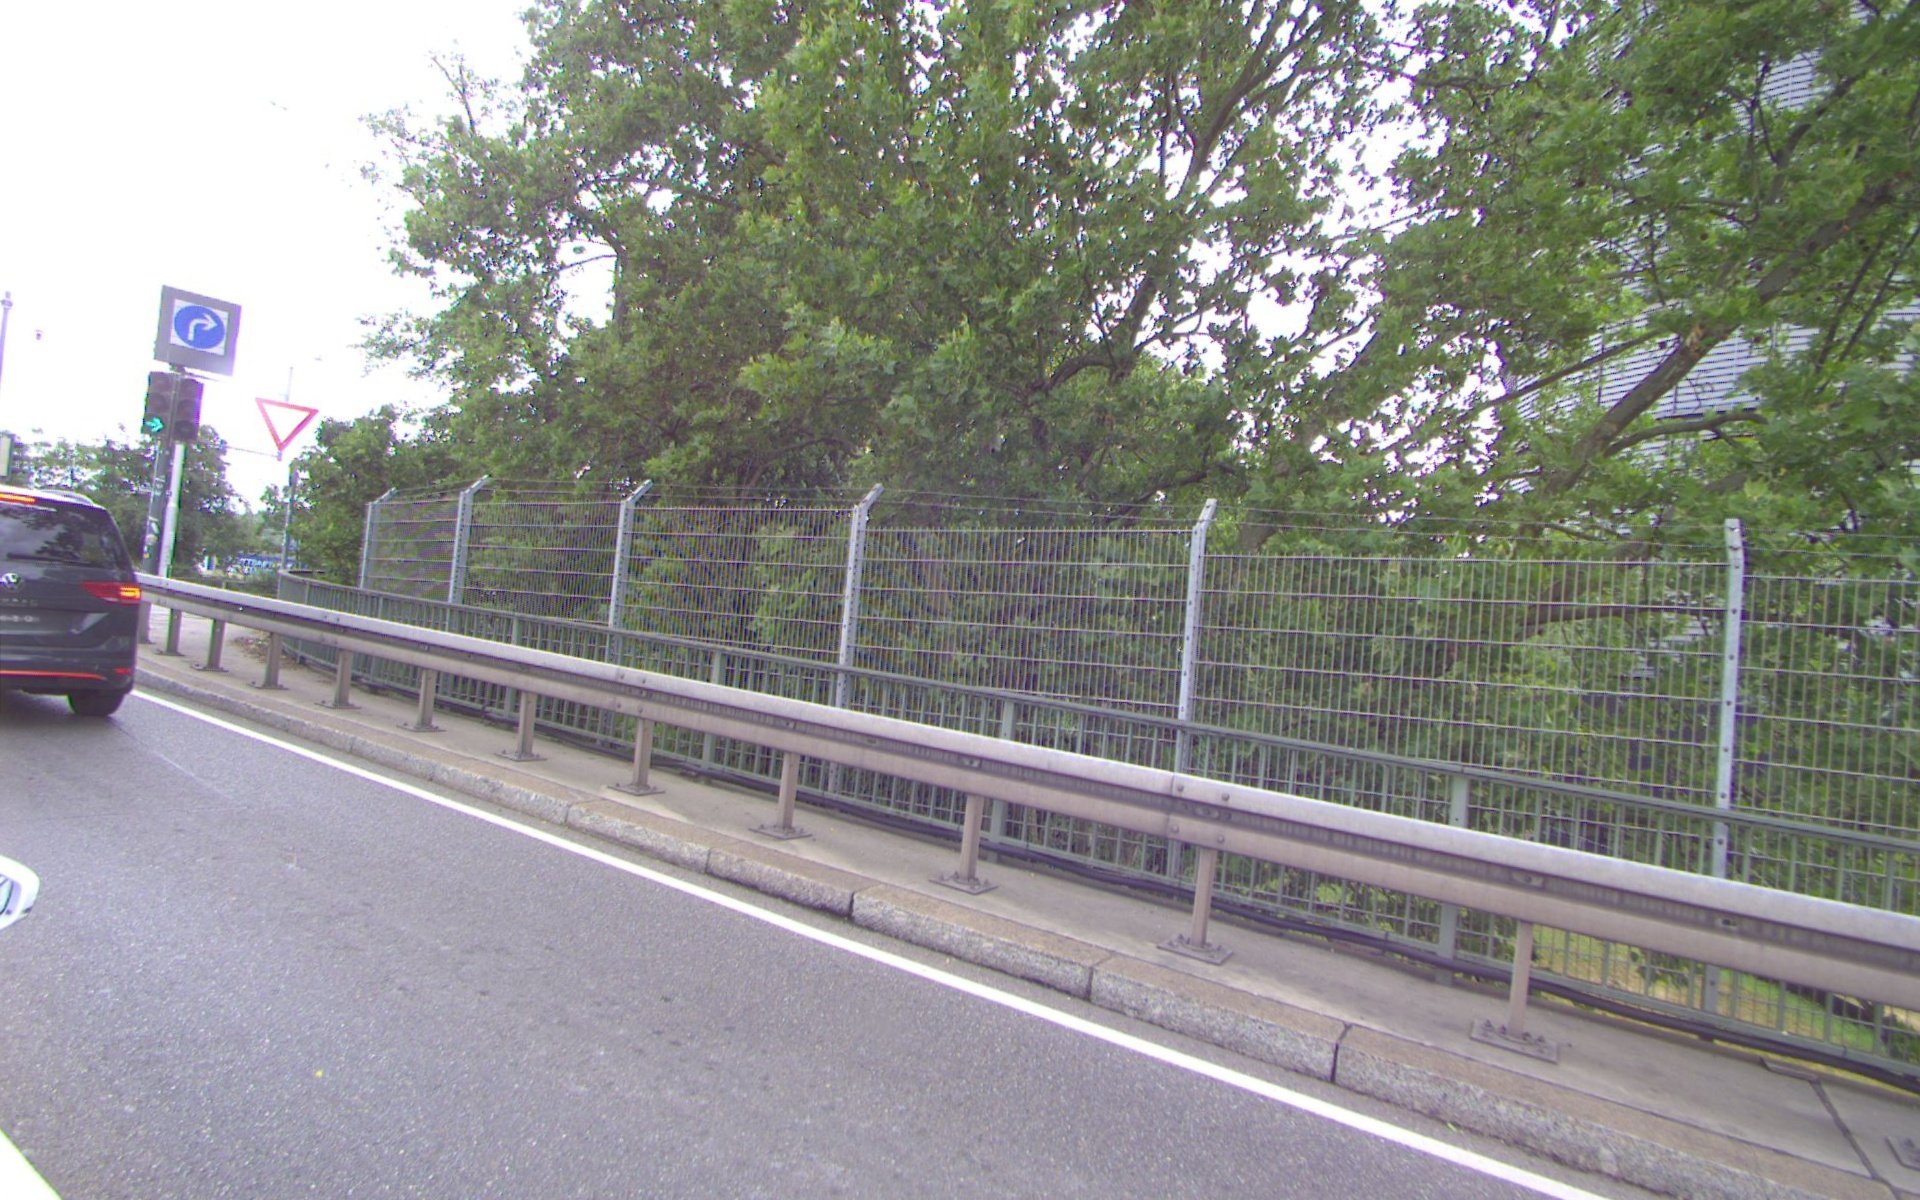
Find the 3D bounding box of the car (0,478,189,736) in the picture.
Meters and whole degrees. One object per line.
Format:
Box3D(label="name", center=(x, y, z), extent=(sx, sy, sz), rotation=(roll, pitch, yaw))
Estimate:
Box3D(label="car", center=(-7.916, -0.128, 7.671), extent=(4.082, 1.672, 1.799), rotation=(6, -2, 32))
